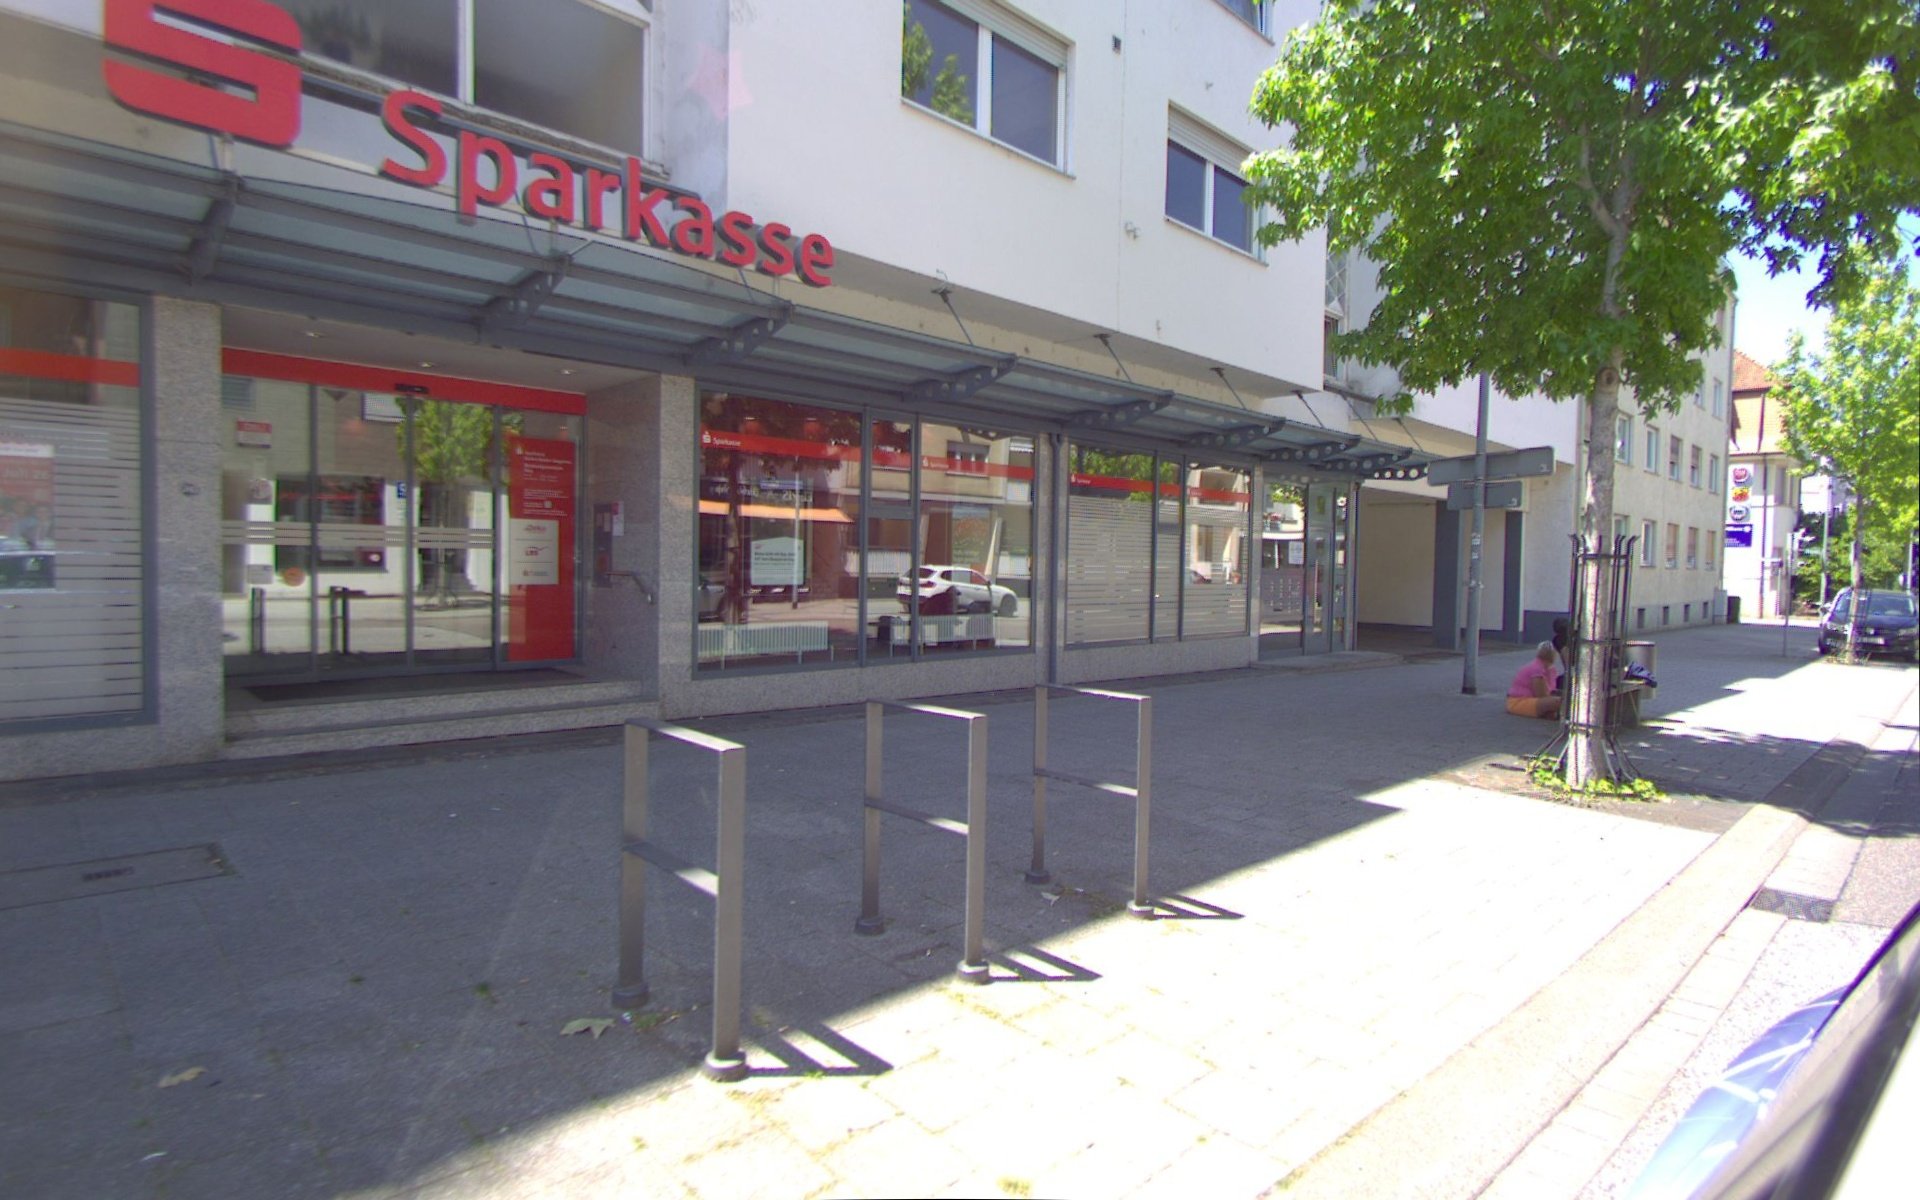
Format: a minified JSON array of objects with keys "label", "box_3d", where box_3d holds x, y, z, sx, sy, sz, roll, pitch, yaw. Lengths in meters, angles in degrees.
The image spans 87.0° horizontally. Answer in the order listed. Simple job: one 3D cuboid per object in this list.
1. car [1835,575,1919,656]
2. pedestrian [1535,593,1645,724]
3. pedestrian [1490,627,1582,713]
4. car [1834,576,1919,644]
[{"label":"car","box_3d":[22.517,0.330,24.566,1.689,1.742,3.938,6,5,43]},{"label":"pedestrian","box_3d":[6.500,0.578,10.460,0.527,1.255,0.764,0,2,-29]},{"label":"pedestrian","box_3d":[6.415,0.765,11.289,0.527,0.862,0.681,0,3,-29]},{"label":"car","box_3d":[26.112,0.235,28.795,1.689,1.743,4.069,3,2,43]}]
